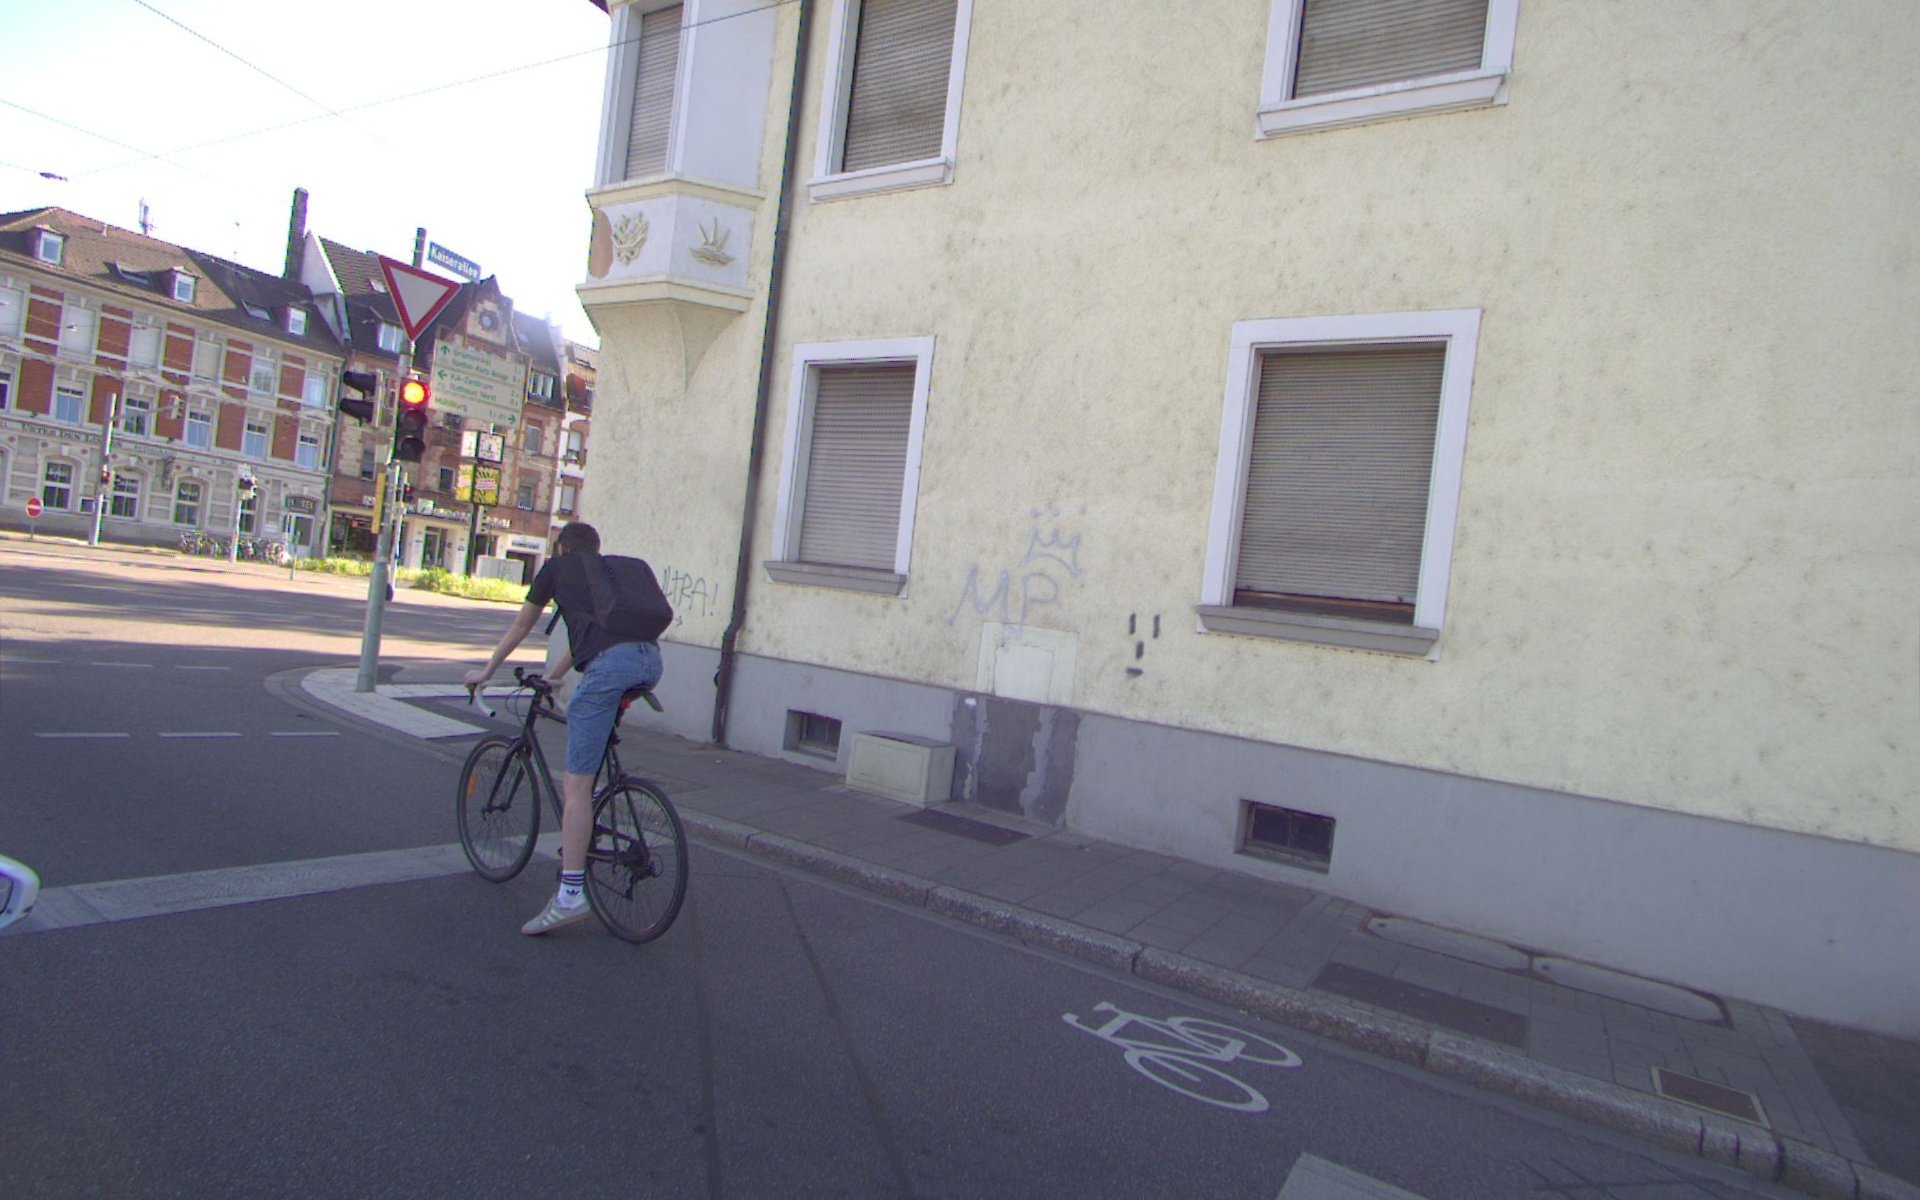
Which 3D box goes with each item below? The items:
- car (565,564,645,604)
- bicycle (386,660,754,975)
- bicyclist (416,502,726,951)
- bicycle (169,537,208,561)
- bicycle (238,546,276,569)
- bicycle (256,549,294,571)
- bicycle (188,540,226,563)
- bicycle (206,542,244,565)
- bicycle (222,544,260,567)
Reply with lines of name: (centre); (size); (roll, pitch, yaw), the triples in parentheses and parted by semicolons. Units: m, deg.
car: (-23.005, -1.004, 65.324); (1.968, 2.038, 4.430); (7, -1, 34)
bicycle: (-1.789, 0.877, 4.505); (1.721, 0.982, 0.519); (7, 0, 32)
bicyclist: (-1.742, 0.494, 4.484); (1.098, 1.722, 0.573); (7, 0, 32)
bicycle: (-34.864, -2.304, 45.479); (2.125, 0.850, 0.659); (6, -2, 33)
bicycle: (-33.485, -2.026, 47.894); (2.125, 0.850, 0.659); (6, -2, 33)
bicycle: (-33.097, -1.947, 48.599); (2.125, 0.850, 0.659); (6, -2, 33)
bicycle: (-34.548, -2.236, 46.146); (2.125, 0.850, 0.659); (6, -2, 33)
bicycle: (-34.175, -2.162, 46.767); (2.125, 0.850, 0.659); (6, -2, 33)
bicycle: (-33.840, -2.094, 47.363); (2.125, 0.850, 0.659); (6, -2, 33)
